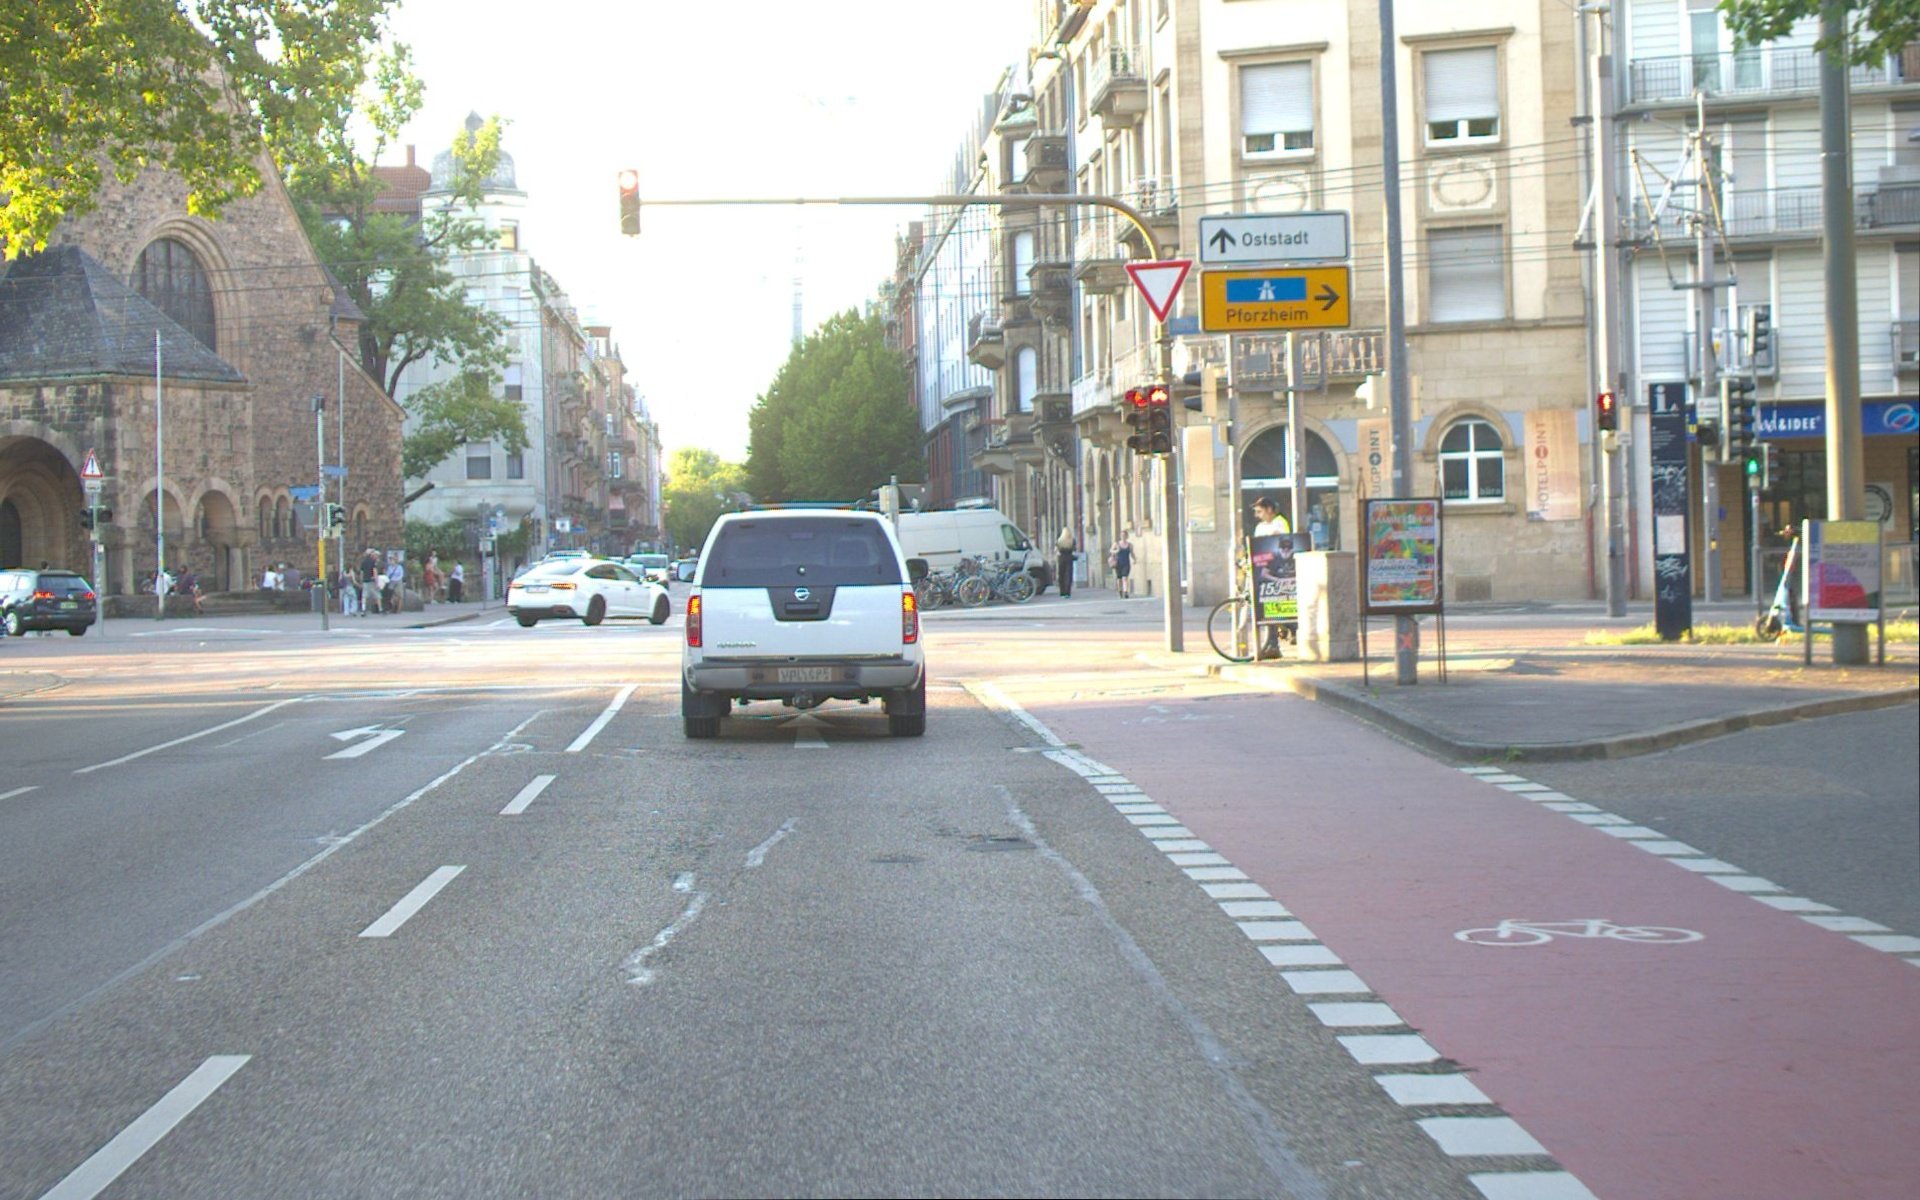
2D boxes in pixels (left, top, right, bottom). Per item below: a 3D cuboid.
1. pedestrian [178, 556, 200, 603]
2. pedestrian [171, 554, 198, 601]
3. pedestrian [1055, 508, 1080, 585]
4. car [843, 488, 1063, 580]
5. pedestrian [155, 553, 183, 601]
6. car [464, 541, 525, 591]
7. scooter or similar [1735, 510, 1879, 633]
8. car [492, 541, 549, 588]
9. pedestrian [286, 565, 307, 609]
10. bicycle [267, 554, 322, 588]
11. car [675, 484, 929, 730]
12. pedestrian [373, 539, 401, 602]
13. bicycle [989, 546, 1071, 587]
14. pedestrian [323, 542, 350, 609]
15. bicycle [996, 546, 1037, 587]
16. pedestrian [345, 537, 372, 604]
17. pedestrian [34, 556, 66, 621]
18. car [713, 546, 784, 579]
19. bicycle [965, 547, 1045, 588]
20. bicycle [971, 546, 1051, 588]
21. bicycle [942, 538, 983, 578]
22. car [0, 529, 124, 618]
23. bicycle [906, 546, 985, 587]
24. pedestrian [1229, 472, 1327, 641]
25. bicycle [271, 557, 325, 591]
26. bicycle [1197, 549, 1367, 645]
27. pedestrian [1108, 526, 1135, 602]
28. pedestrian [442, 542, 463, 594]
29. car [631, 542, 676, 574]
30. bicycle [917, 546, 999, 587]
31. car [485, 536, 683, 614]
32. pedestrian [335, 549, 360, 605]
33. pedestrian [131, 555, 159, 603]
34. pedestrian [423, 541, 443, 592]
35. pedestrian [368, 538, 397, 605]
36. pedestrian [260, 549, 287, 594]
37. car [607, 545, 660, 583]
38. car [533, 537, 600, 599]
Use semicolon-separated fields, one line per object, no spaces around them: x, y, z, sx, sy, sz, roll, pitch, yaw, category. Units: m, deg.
-21.289;-0.569;94.931;0.497;1.276;0.493;-2;1;-23;pedestrian
-21.309;-0.619;94.485;0.498;1.282;0.492;-1;1;18;pedestrian
2.671;-1.332;85.362;0.593;1.880;0.647;-1;1;3;pedestrian
-0.148;-1.727;89.593;5.807;2.280;2.071;-2;2;-42;car
-21.942;-0.649;95.308;0.573;1.315;0.486;-1;1;13;pedestrian
-15.714;-1.168;116.138;1.993;1.645;3.822;0;1;-7;car
8.784;-0.301;35.667;0.544;1.246;1.390;-2;2;-39;scooter or similar
-15.839;-1.296;123.925;1.993;1.645;3.822;0;1;-7;car
-19.273;-0.376;99.891;0.491;1.282;0.499;-1;1;-2;pedestrian
-19.459;-0.841;100.522;1.499;0.965;0.395;-1;1;9;bicycle
-1.186;0.016;27.269;1.866;1.808;4.000;0;1;-1;car
-17.080;-0.883;102.445;0.593;1.880;0.553;-1;1;15;pedestrian
1.717;-0.816;84.121;1.916;0.965;0.545;-1;1;15;bicycle
-17.590;-0.700;96.921;0.593;1.880;0.553;-1;1;3;pedestrian
1.413;-0.843;85.486;0.544;0.965;1.920;-1;1;15;bicycle
-16.963;-0.829;96.964;0.593;1.880;0.553;-1;1;3;pedestrian
-22.292;-0.283;84.229;0.556;1.578;0.548;-1;1;8;pedestrian
-12.123;-2.167;197.042;3.986;1.809;2.000;-1;1;-5;car
1.086;-0.788;83.063;1.915;0.965;0.546;-1;1;0;bicycle
1.239;-0.808;83.342;1.915;0.965;0.546;-1;1;0;bicycle
0.065;-1.054;85.895;0.544;0.965;1.920;-1;1;15;bicycle
-20.185;-0.614;75.564;2.078;1.835;4.631;-3;2;-33;car
-0.350;-0.835;84.594;1.915;0.965;0.546;-1;1;0;bicycle
3.387;-0.466;36.648;0.794;1.762;0.721;-1;1;-16;pedestrian
-19.434;-0.773;100.888;1.499;0.965;0.395;-1;1;9;bicycle
3.378;-0.034;36.157;1.691;0.965;0.546;-1;1;-5;bicycle
3.808;-0.856;80.884;0.593;1.762;0.653;-1;1;3;pedestrian
-18.699;-1.182;126.755;0.552;1.880;0.595;-1;1;13;pedestrian
-14.621;-1.998;164.028;1.993;1.501;3.822;0;1;-7;car
-0.045;-0.820;83.787;1.914;0.965;0.546;-1;1;-8;bicycle
-7.934;-0.539;72.968;1.996;1.525;4.638;-1;1;26;car
-20.763;-0.781;116.504;0.594;1.880;0.553;-1;1;21;pedestrian
-22.368;-0.577;94.337;0.573;1.286;0.486;-1;1;13;pedestrian
-19.404;-1.234;126.590;0.551;1.880;0.595;-2;1;-26;pedestrian
-16.284;-0.810;96.929;0.654;1.880;0.586;-1;1;3;pedestrian
-19.906;-0.824;99.684;0.573;1.286;0.486;-1;1;13;pedestrian
-13.159;-1.450;138.470;1.993;1.501;3.822;0;1;-7;car
-10.825;-0.886;94.313;1.781;1.645;3.822;0;1;-7;car
